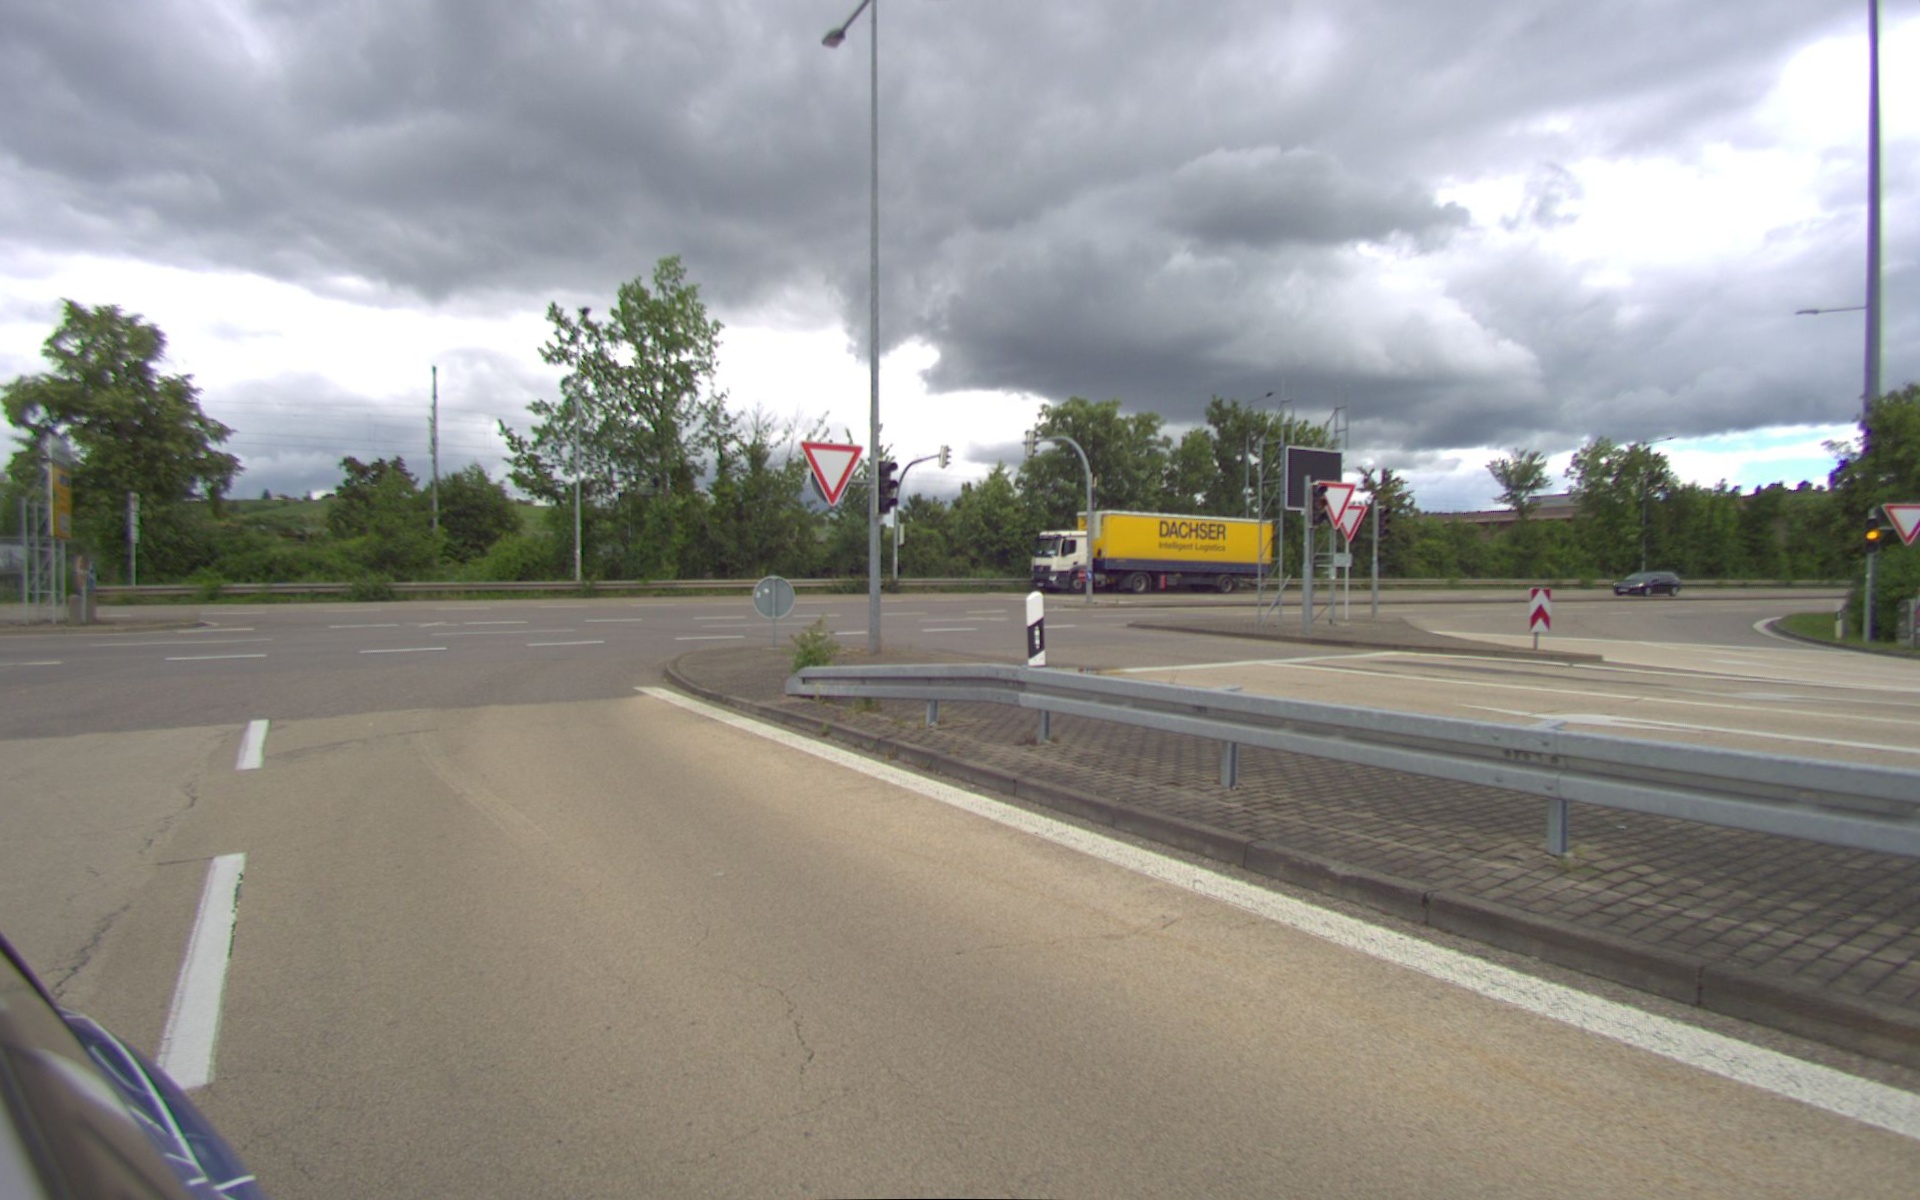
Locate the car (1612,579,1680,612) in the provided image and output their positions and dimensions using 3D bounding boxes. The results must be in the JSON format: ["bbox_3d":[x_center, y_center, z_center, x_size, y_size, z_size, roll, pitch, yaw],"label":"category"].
[{"bbox_3d":[40.520,-0.302,59.792,4.055,1.673,1.634,-4,5,-29],"label":"car"}]

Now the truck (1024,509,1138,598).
[{"bbox_3d":[6.030,-2.243,50.530,5.014,4.235,2.644,-1,1,-27],"label":"truck"}]

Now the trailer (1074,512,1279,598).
[{"bbox_3d":[11.571,-2.274,53.348,11.455,4.235,2.644,-1,1,-27],"label":"trailer"}]
